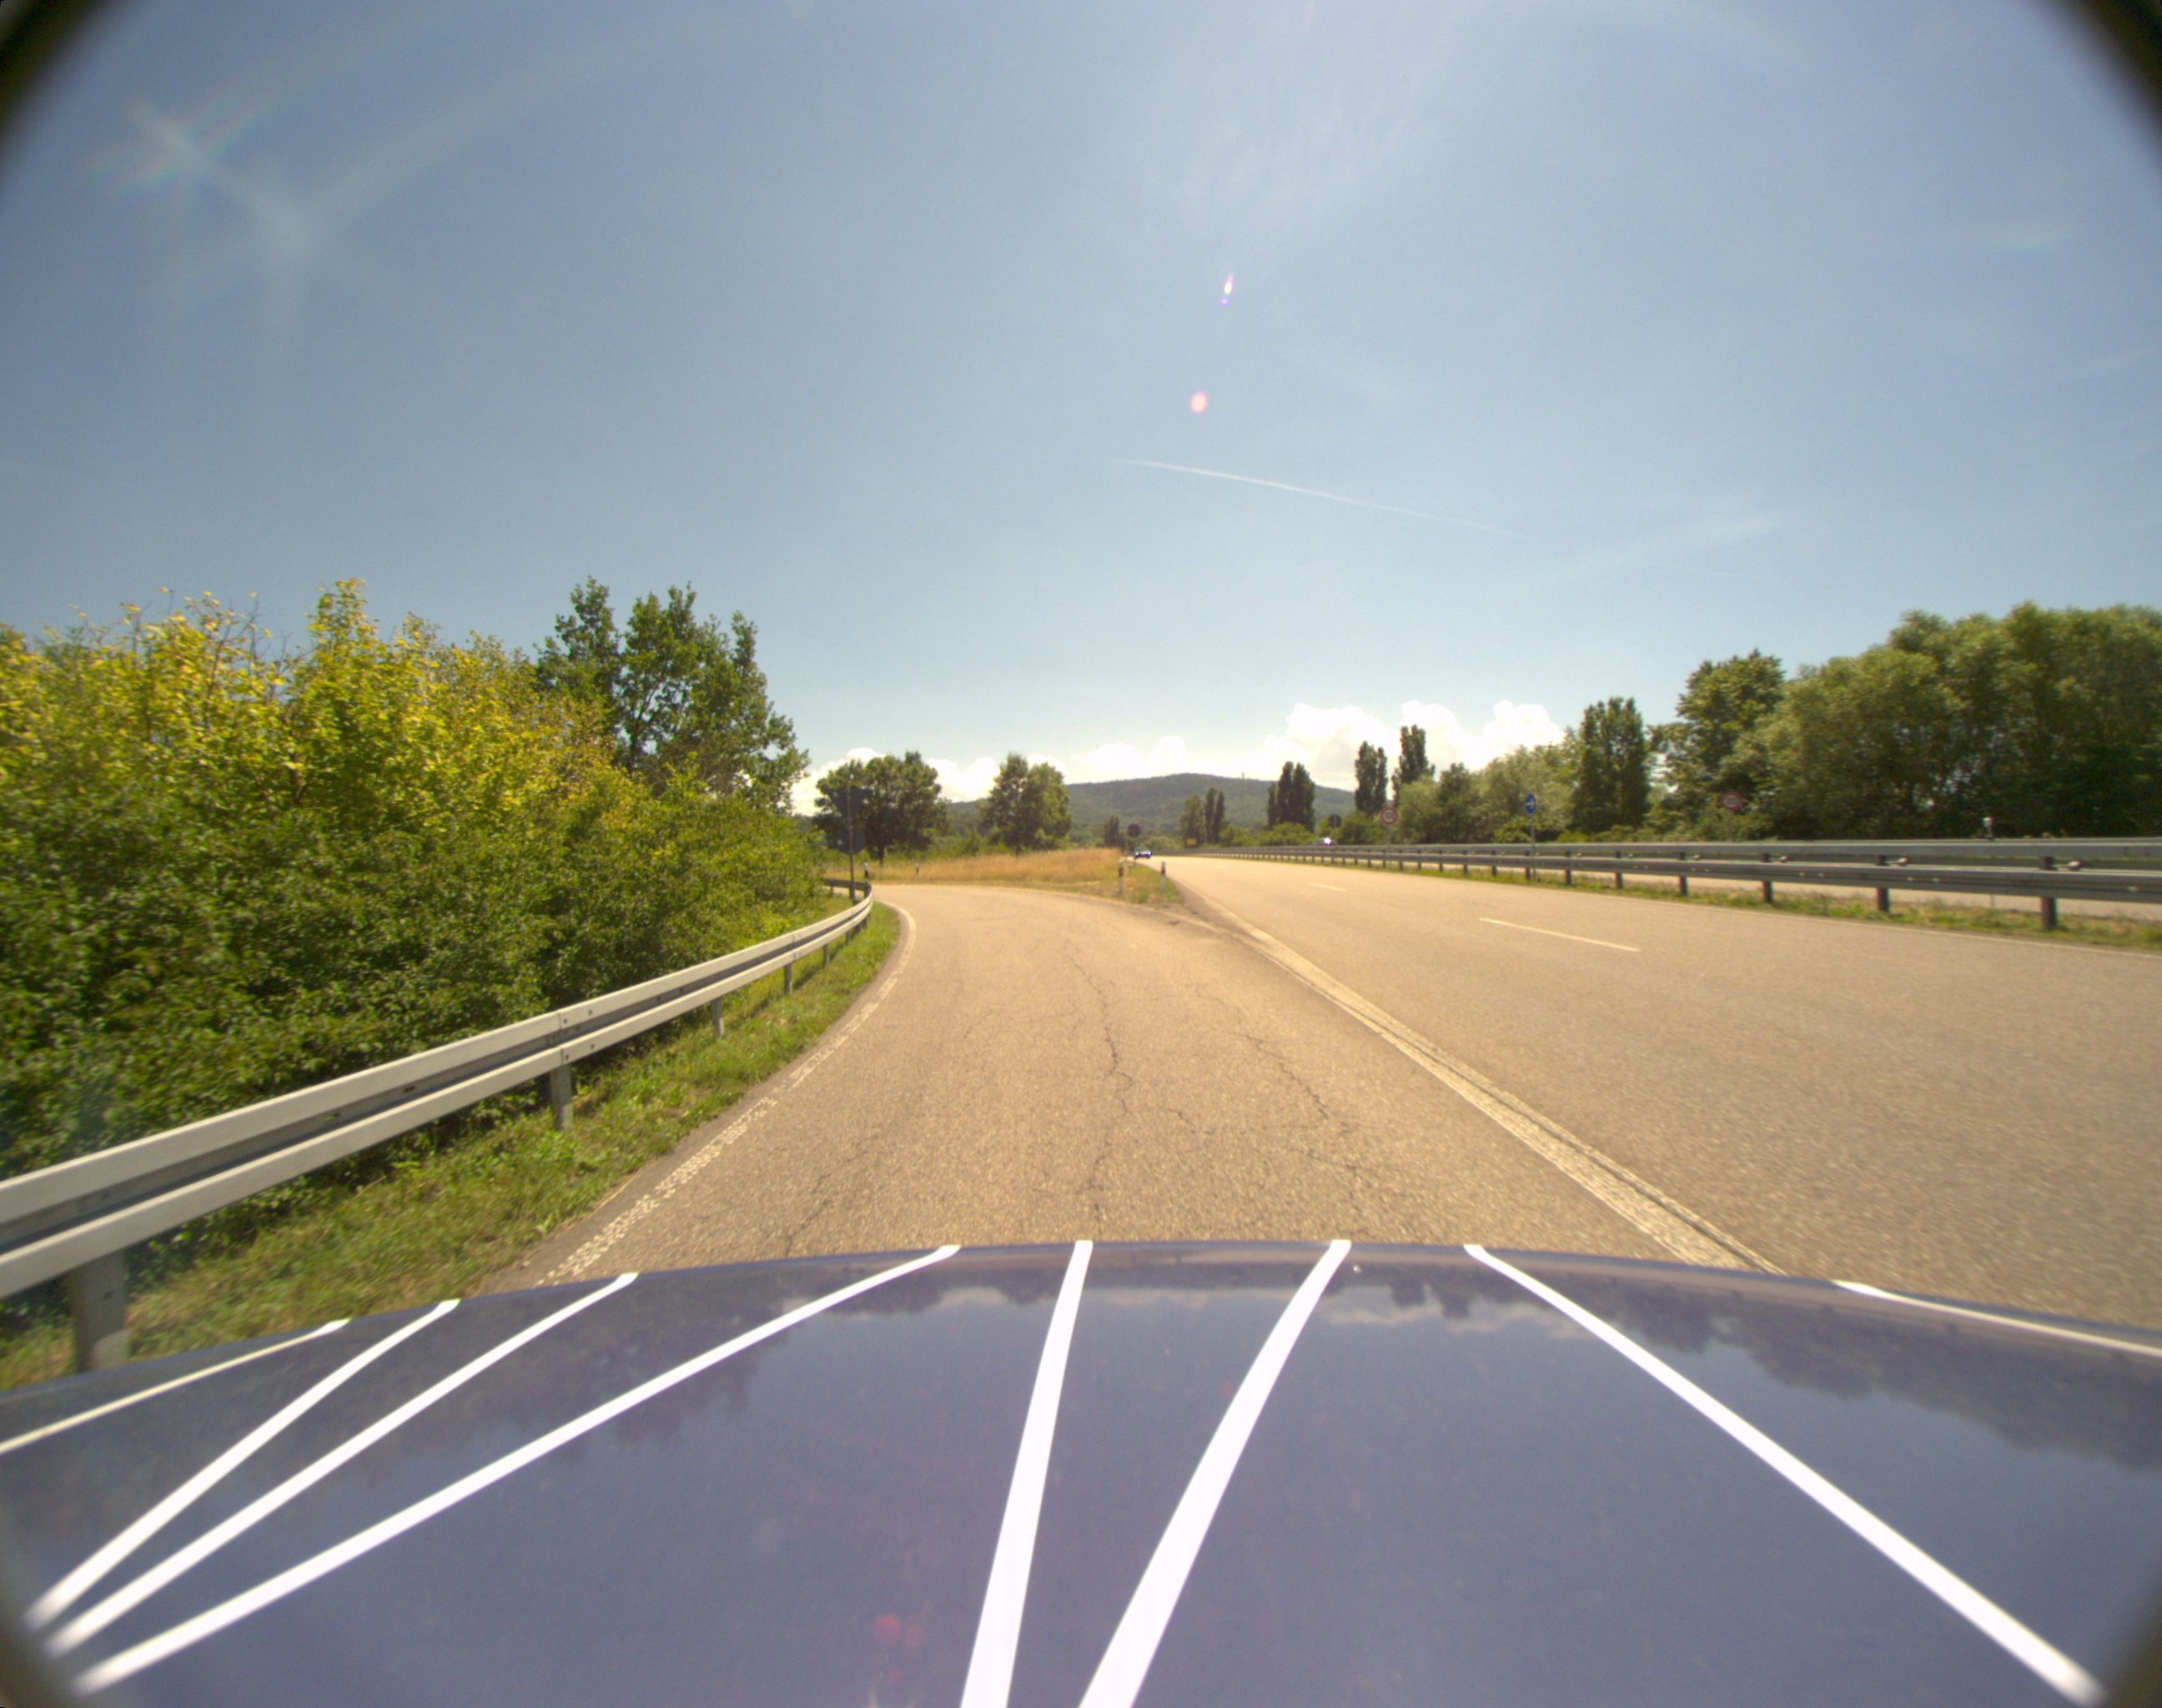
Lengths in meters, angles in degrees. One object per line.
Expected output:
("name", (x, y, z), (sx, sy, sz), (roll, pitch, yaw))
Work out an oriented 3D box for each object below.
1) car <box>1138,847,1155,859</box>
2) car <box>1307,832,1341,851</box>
("car", (8.331, -0.158, 96.866), (1.908, 1.368, 3.891), (-2, 0, 1))
("car", (21.143, -1.117, 66.179), (1.785, 1.510, 3.704), (-3, 1, 1))
